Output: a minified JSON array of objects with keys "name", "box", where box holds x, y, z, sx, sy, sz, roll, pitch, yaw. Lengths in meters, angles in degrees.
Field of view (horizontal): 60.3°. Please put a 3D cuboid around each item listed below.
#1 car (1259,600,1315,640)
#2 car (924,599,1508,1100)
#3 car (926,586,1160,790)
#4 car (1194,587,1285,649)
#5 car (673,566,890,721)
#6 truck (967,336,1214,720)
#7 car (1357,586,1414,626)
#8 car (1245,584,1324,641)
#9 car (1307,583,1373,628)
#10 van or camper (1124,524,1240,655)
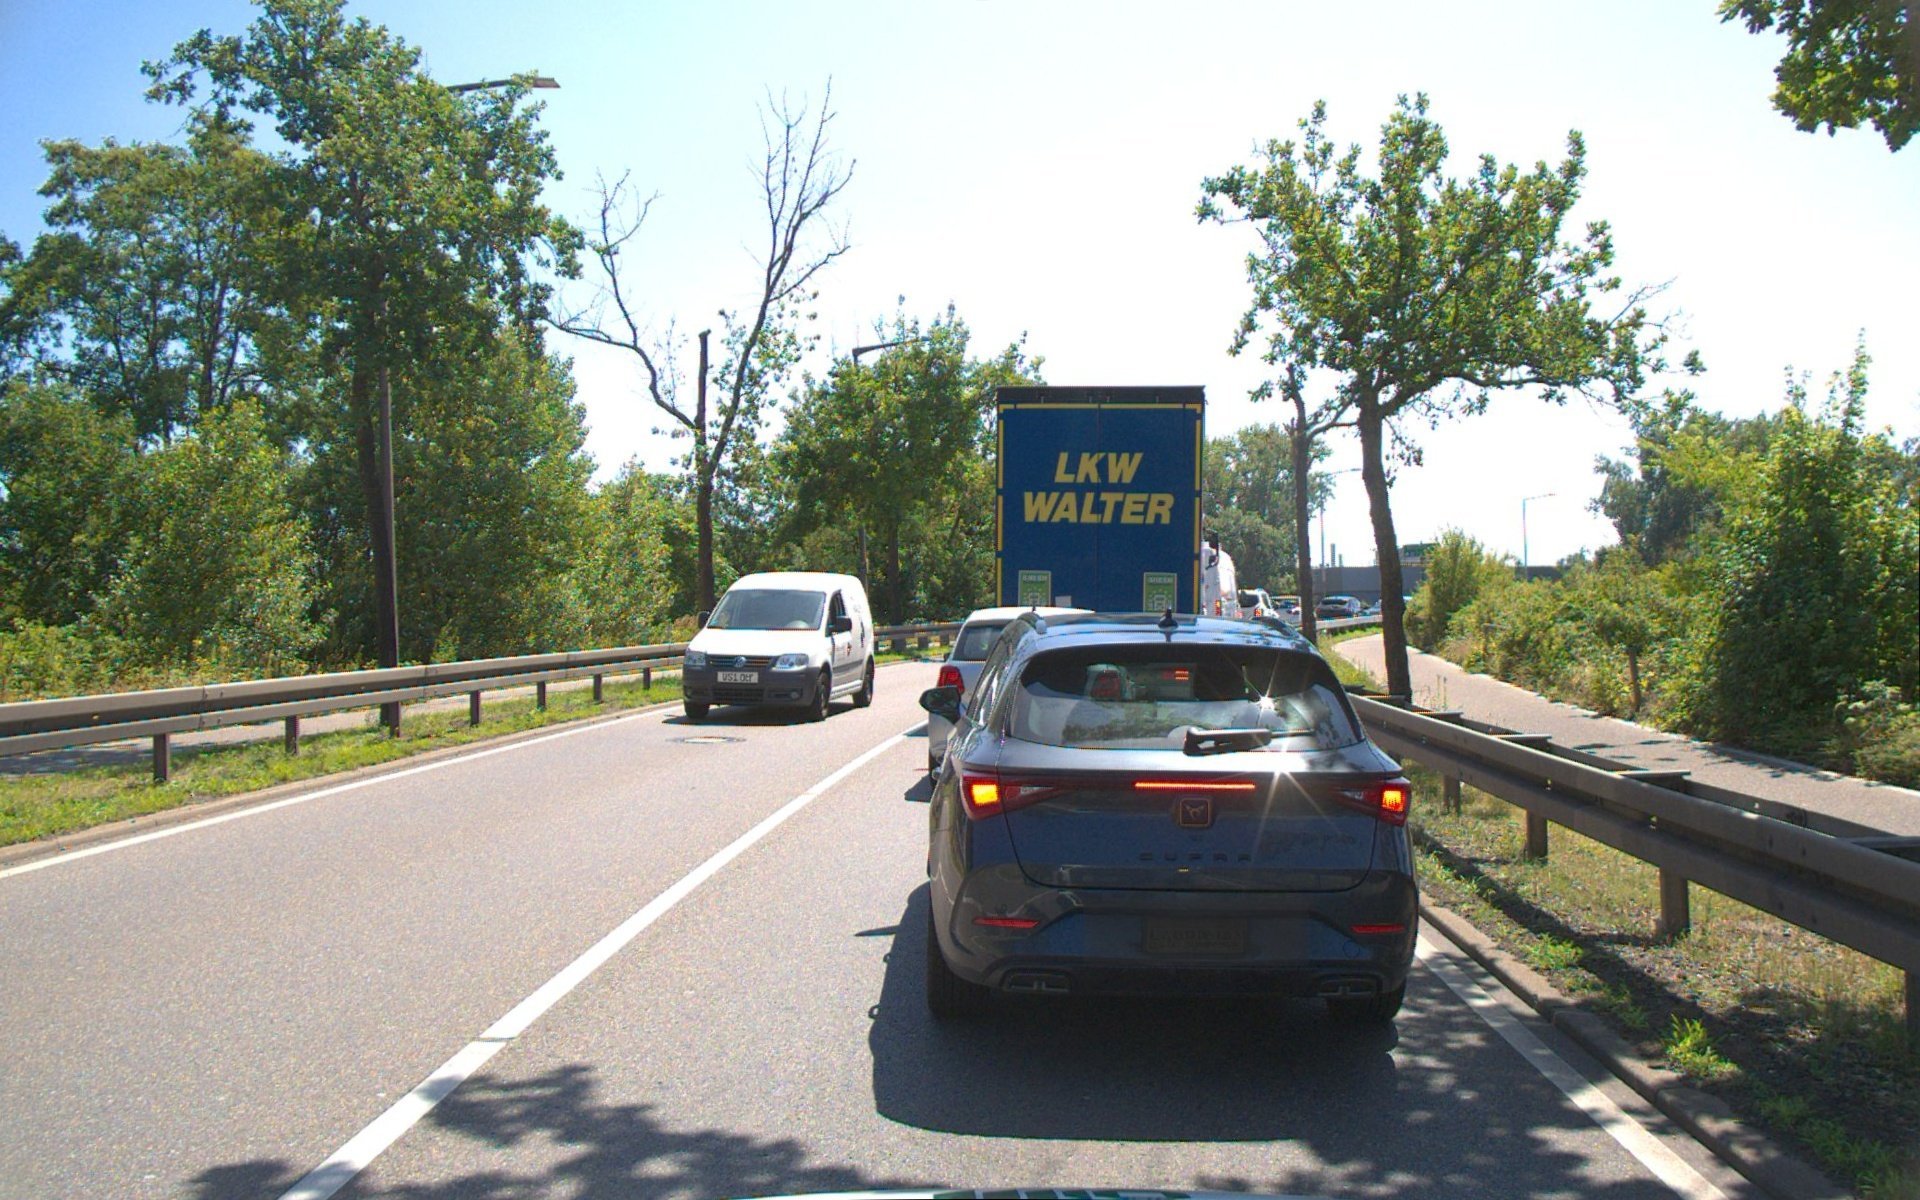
[{"name":"car","box":[15.204,0.906,76.862,1.710,1.794,4.435,1,0,22]},{"name":"car","box":[0.778,0.736,6.826,1.708,1.457,3.880,1,0,1]},{"name":"car","box":[0.648,0.671,14.644,1.772,1.534,4.000,1,0,0]},{"name":"car","box":[8.495,0.530,49.933,1.952,1.742,4.621,1,0,19]},{"name":"car","box":[-2.197,0.504,21.594,1.708,1.794,4.392,1,0,9]},{"name":"truck","box":[2.753,-0.853,28.028,2.887,4.526,16.811,1,0,8]},{"name":"car","box":[20.236,0.277,78.573,1.953,1.799,4.753,1,0,23]},{"name":"car","box":[11.173,0.420,56.700,1.952,1.840,4.847,1,0,19]},{"name":"car","box":[15.647,0.218,68.006,1.953,1.747,4.868,1,0,21]},{"name":"van or camper","box":[5.688,-0.247,41.603,2.413,3.051,6.091,1,0,12]}]
